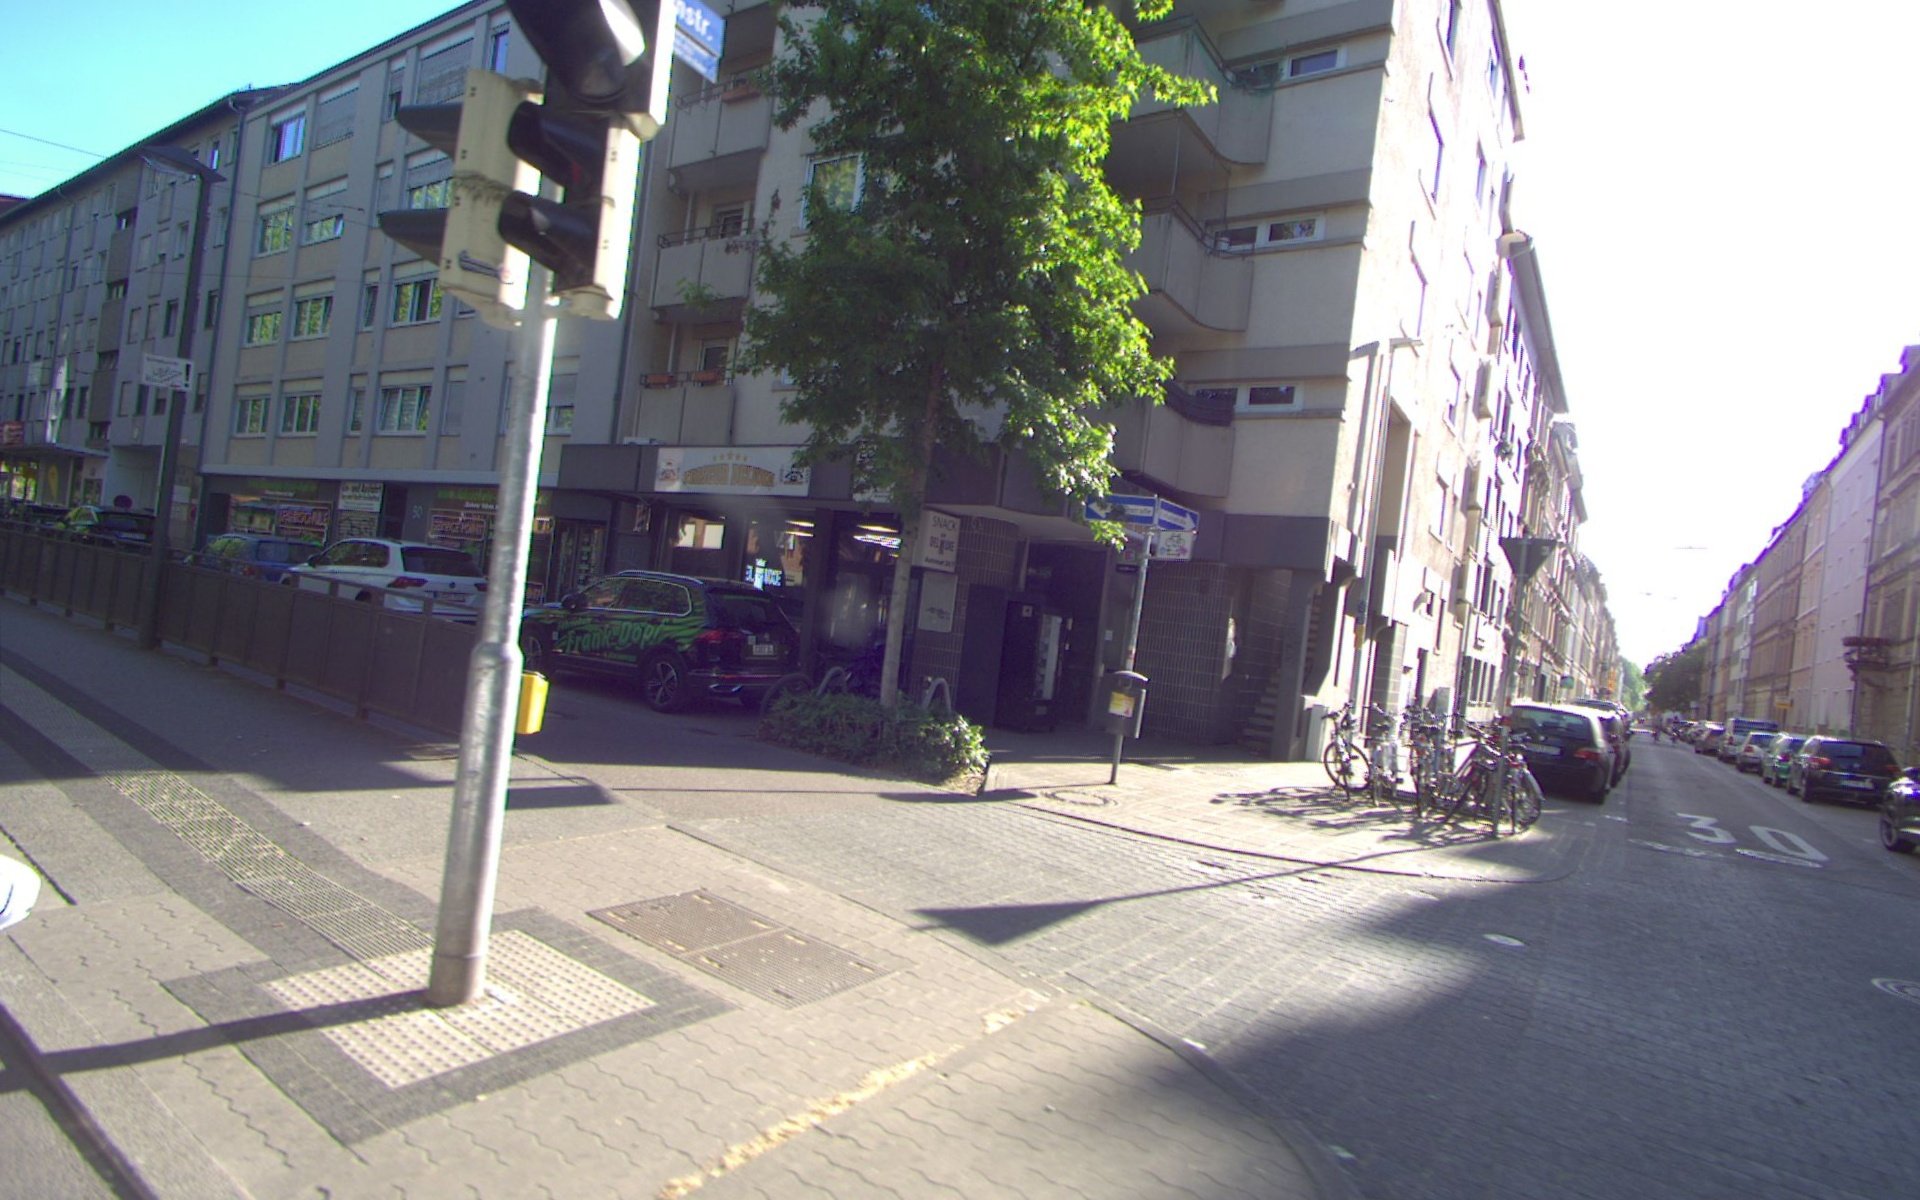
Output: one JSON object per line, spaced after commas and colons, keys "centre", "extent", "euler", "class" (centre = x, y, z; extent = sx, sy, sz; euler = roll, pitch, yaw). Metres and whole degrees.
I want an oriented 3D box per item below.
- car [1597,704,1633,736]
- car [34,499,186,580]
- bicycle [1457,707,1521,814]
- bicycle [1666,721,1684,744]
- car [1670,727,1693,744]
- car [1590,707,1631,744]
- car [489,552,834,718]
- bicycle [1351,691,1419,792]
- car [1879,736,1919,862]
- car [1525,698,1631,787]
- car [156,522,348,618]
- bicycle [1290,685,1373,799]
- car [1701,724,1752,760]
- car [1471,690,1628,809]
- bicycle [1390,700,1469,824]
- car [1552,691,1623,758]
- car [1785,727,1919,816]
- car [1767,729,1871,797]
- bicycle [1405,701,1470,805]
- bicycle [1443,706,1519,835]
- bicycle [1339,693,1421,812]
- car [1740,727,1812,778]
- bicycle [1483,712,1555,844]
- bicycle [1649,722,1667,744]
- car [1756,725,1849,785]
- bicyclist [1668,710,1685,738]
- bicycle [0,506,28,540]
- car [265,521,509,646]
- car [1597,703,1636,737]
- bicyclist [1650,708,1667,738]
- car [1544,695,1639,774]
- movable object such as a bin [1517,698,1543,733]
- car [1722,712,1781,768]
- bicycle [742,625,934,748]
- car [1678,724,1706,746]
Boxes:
{"centre": [48.130, 8.820, 73.979], "extent": [1.968, 2.036, 3.994], "euler": [6, -3, 33], "class": "car"}
{"centre": [-22.259, -1.604, 26.298], "extent": [4.329, 1.634, 1.859], "euler": [6, -3, 35], "class": "car"}
{"centre": [6.891, 2.041, 13.068], "extent": [0.502, 1.222, 1.918], "euler": [8, -1, 31], "class": "bicycle"}
{"centre": [42.525, 7.856, 59.809], "extent": [0.670, 1.246, 2.290], "euler": [6, -3, 33], "class": "bicycle"}
{"centre": [72.968, 13.672, 101.716], "extent": [1.769, 1.434, 3.990], "euler": [6, -3, 36], "class": "car"}
{"centre": [41.457, 7.983, 64.153], "extent": [1.968, 2.036, 3.994], "euler": [6, -3, 33], "class": "car"}
{"centre": [-4.042, 0.411, 13.364], "extent": [4.375, 1.635, 1.994], "euler": [6, -1, 35], "class": "car"}
{"centre": [5.826, 1.913, 13.727], "extent": [0.502, 1.221, 1.918], "euler": [5, -3, 31], "class": "bicycle"}
{"centre": [13.405, 2.664, 12.669], "extent": [1.936, 1.610, 4.255], "euler": [5, -3, 33], "class": "car"}
{"centre": [13.490, 3.068, 21.941], "extent": [1.680, 1.526, 3.994], "euler": [6, -3, 33], "class": "car"}
{"centre": [-14.355, -0.625, 20.337], "extent": [4.180, 1.456, 1.746], "euler": [6, -3, 35], "class": "car"}
{"centre": [4.564, 1.713, 12.275], "extent": [0.502, 1.221, 1.918], "euler": [6, -2, 31], "class": "bicycle"}
{"centre": [38.546, 7.135, 50.603], "extent": [1.844, 1.434, 3.988], "euler": [6, -3, 38], "class": "car"}
{"centre": [10.420, 2.491, 17.601], "extent": [1.841, 1.496, 4.587], "euler": [9, 1, 35], "class": "car"}
{"centre": [5.390, 1.791, 11.493], "extent": [0.502, 1.222, 1.917], "euler": [7, -1, 31], "class": "bicycle"}
{"centre": [20.371, 4.029, 32.708], "extent": [1.694, 1.836, 3.560], "euler": [6, -3, 32], "class": "car"}
{"centre": [20.439, 3.865, 23.203], "extent": [1.936, 1.574, 3.987], "euler": [6, -2, 38], "class": "car"}
{"centre": [23.256, 4.392, 27.356], "extent": [1.837, 1.434, 3.988], "euler": [6, -3, 38], "class": "car"}
{"centre": [6.373, 2.007, 13.381], "extent": [0.502, 1.221, 1.918], "euler": [6, -3, 31], "class": "bicycle"}
{"centre": [5.831, 1.838, 11.211], "extent": [0.502, 1.222, 1.917], "euler": [8, 0, 31], "class": "bicycle"}
{"centre": [4.970, 1.738, 11.844], "extent": [0.502, 1.222, 1.917], "euler": [7, -1, 31], "class": "bicycle"}
{"centre": [28.746, 5.355, 35.533], "extent": [1.769, 1.434, 3.988], "euler": [6, -3, 38], "class": "car"}
{"centre": [6.163, 1.889, 11.047], "extent": [0.502, 1.222, 1.917], "euler": [8, 0, 31], "class": "bicycle"}
{"centre": [41.831, 7.971, 60.307], "extent": [0.699, 1.246, 2.318], "euler": [6, -3, 33], "class": "bicycle"}
{"centre": [26.412, 4.847, 31.646], "extent": [1.971, 1.467, 3.988], "euler": [6, -3, 38], "class": "car"}
{"centre": [42.524, 7.386, 59.727], "extent": [0.670, 1.551, 0.794], "euler": [6, -2, 34], "class": "bicyclist"}
{"centre": [-35.804, -2.935, 37.463], "extent": [2.395, 1.149, 0.623], "euler": [6, -2, 24], "class": "bicycle"}
{"centre": [-9.840, -0.315, 17.169], "extent": [4.346, 1.624, 1.802], "euler": [6, -3, 35], "class": "car"}
{"centre": [45.057, 8.247, 69.109], "extent": [1.968, 2.036, 3.994], "euler": [6, -3, 33], "class": "car"}
{"centre": [41.831, 7.373, 60.226], "extent": [0.670, 1.683, 0.794], "euler": [6, -2, 34], "class": "bicyclist"}
{"centre": [16.417, 3.476, 26.156], "extent": [1.806, 1.640, 4.067], "euler": [6, -3, 33], "class": "car"}
{"centre": [24.786, 5.008, 43.715], "extent": [0.853, 1.404, 0.854], "euler": [6, -2, 31], "class": "movable object such as a bin"}
{"centre": [33.095, 5.867, 42.122], "extent": [1.714, 1.968, 4.214], "euler": [6, -3, 38], "class": "car"}
{"centre": [-1.334, 1.012, 11.442], "extent": [0.672, 1.201, 2.124], "euler": [6, -3, 42], "class": "bicycle"}
{"centre": [57.598, 10.616, 79.183], "extent": [1.611, 1.434, 3.990], "euler": [6, -3, 36], "class": "car"}
